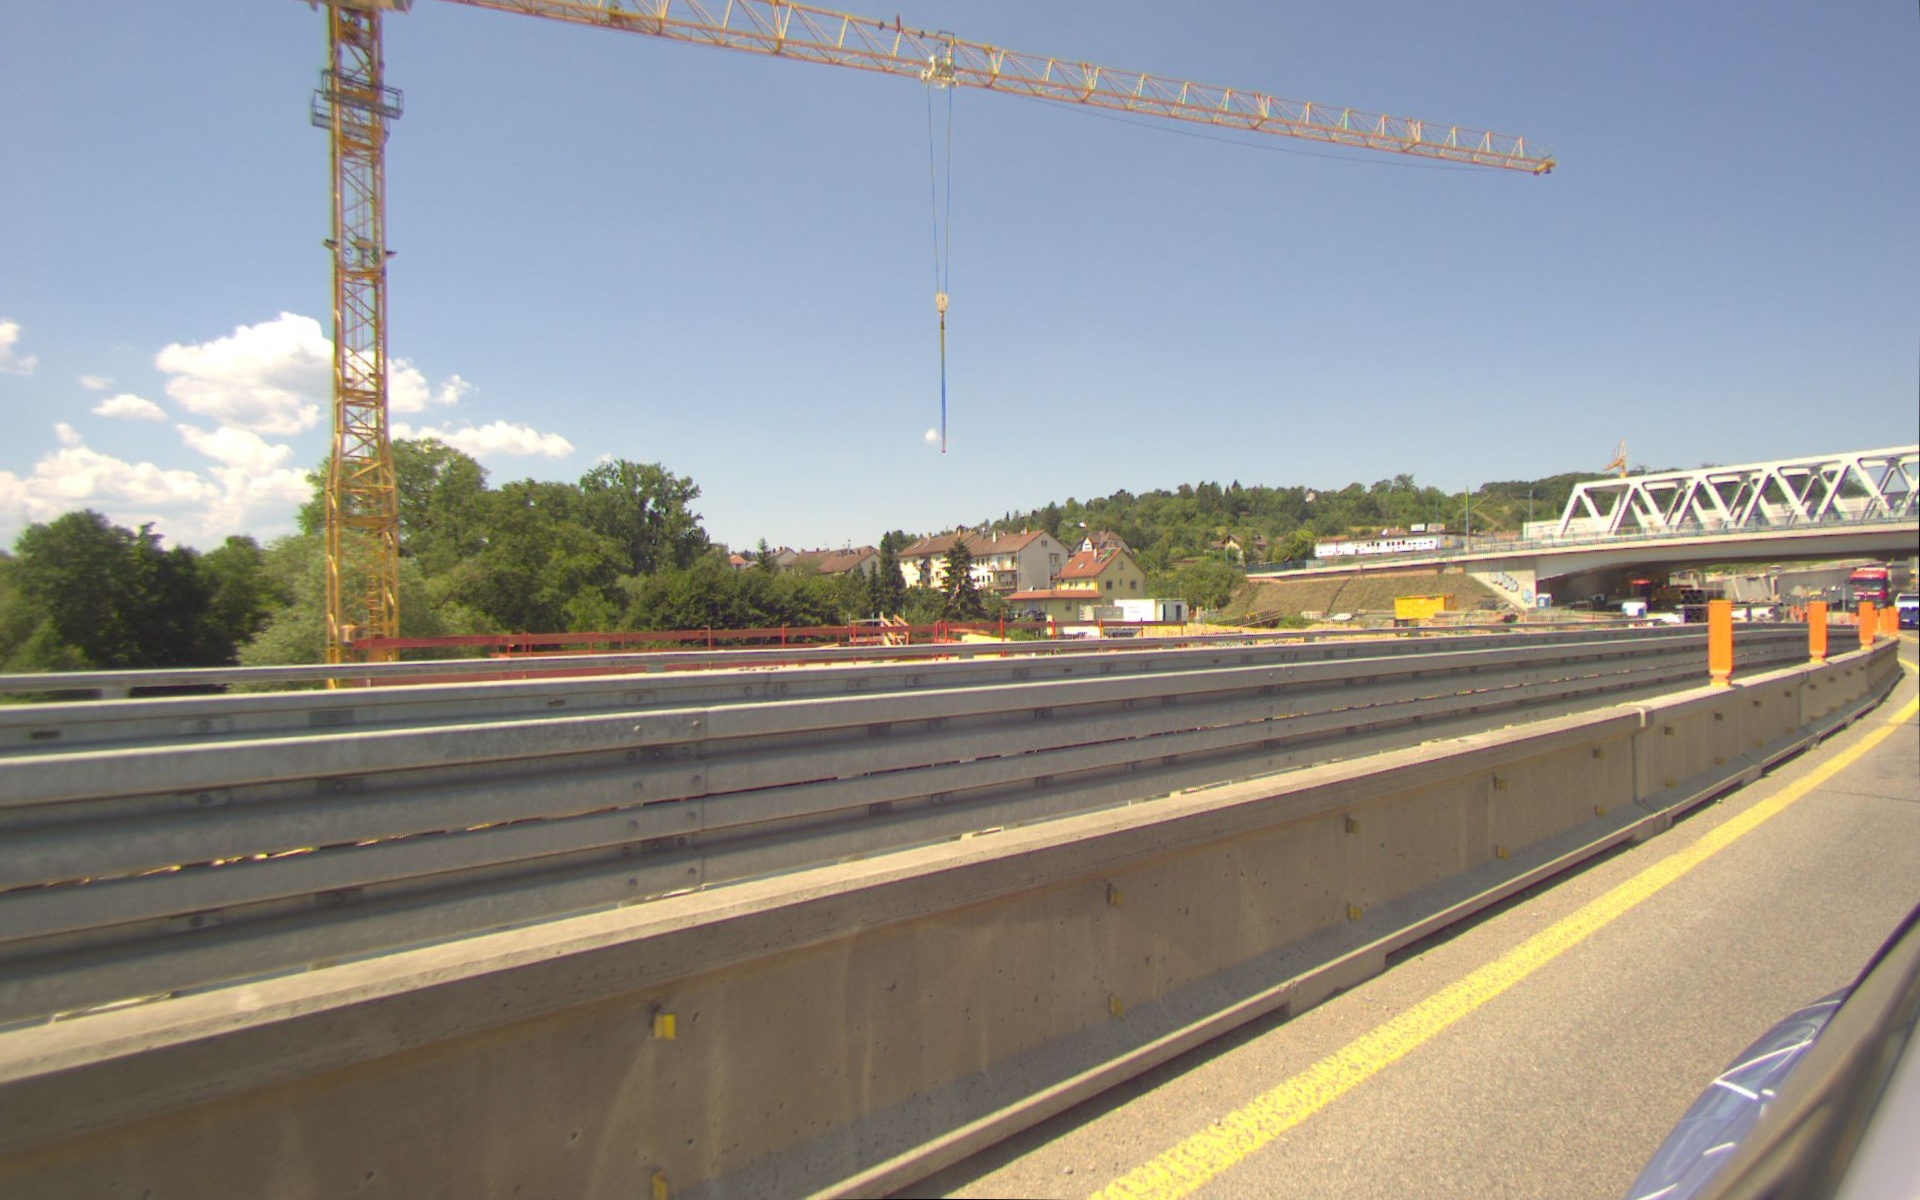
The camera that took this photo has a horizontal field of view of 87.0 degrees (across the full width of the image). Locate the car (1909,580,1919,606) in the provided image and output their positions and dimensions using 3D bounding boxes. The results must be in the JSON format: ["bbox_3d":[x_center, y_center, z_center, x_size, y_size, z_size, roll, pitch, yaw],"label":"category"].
[{"bbox_3d":[76.020,-0.543,79.727,1.787,1.906,3.936,-2,-2,44],"label":"car"}]

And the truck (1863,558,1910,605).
[{"bbox_3d":[79.116,-1.518,86.524,2.694,3.773,8.381,2,1,41],"label":"truck"}]

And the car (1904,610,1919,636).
[{"bbox_3d":[61.475,1.444,64.335,1.784,1.608,3.942,-2,-2,39],"label":"car"}]
